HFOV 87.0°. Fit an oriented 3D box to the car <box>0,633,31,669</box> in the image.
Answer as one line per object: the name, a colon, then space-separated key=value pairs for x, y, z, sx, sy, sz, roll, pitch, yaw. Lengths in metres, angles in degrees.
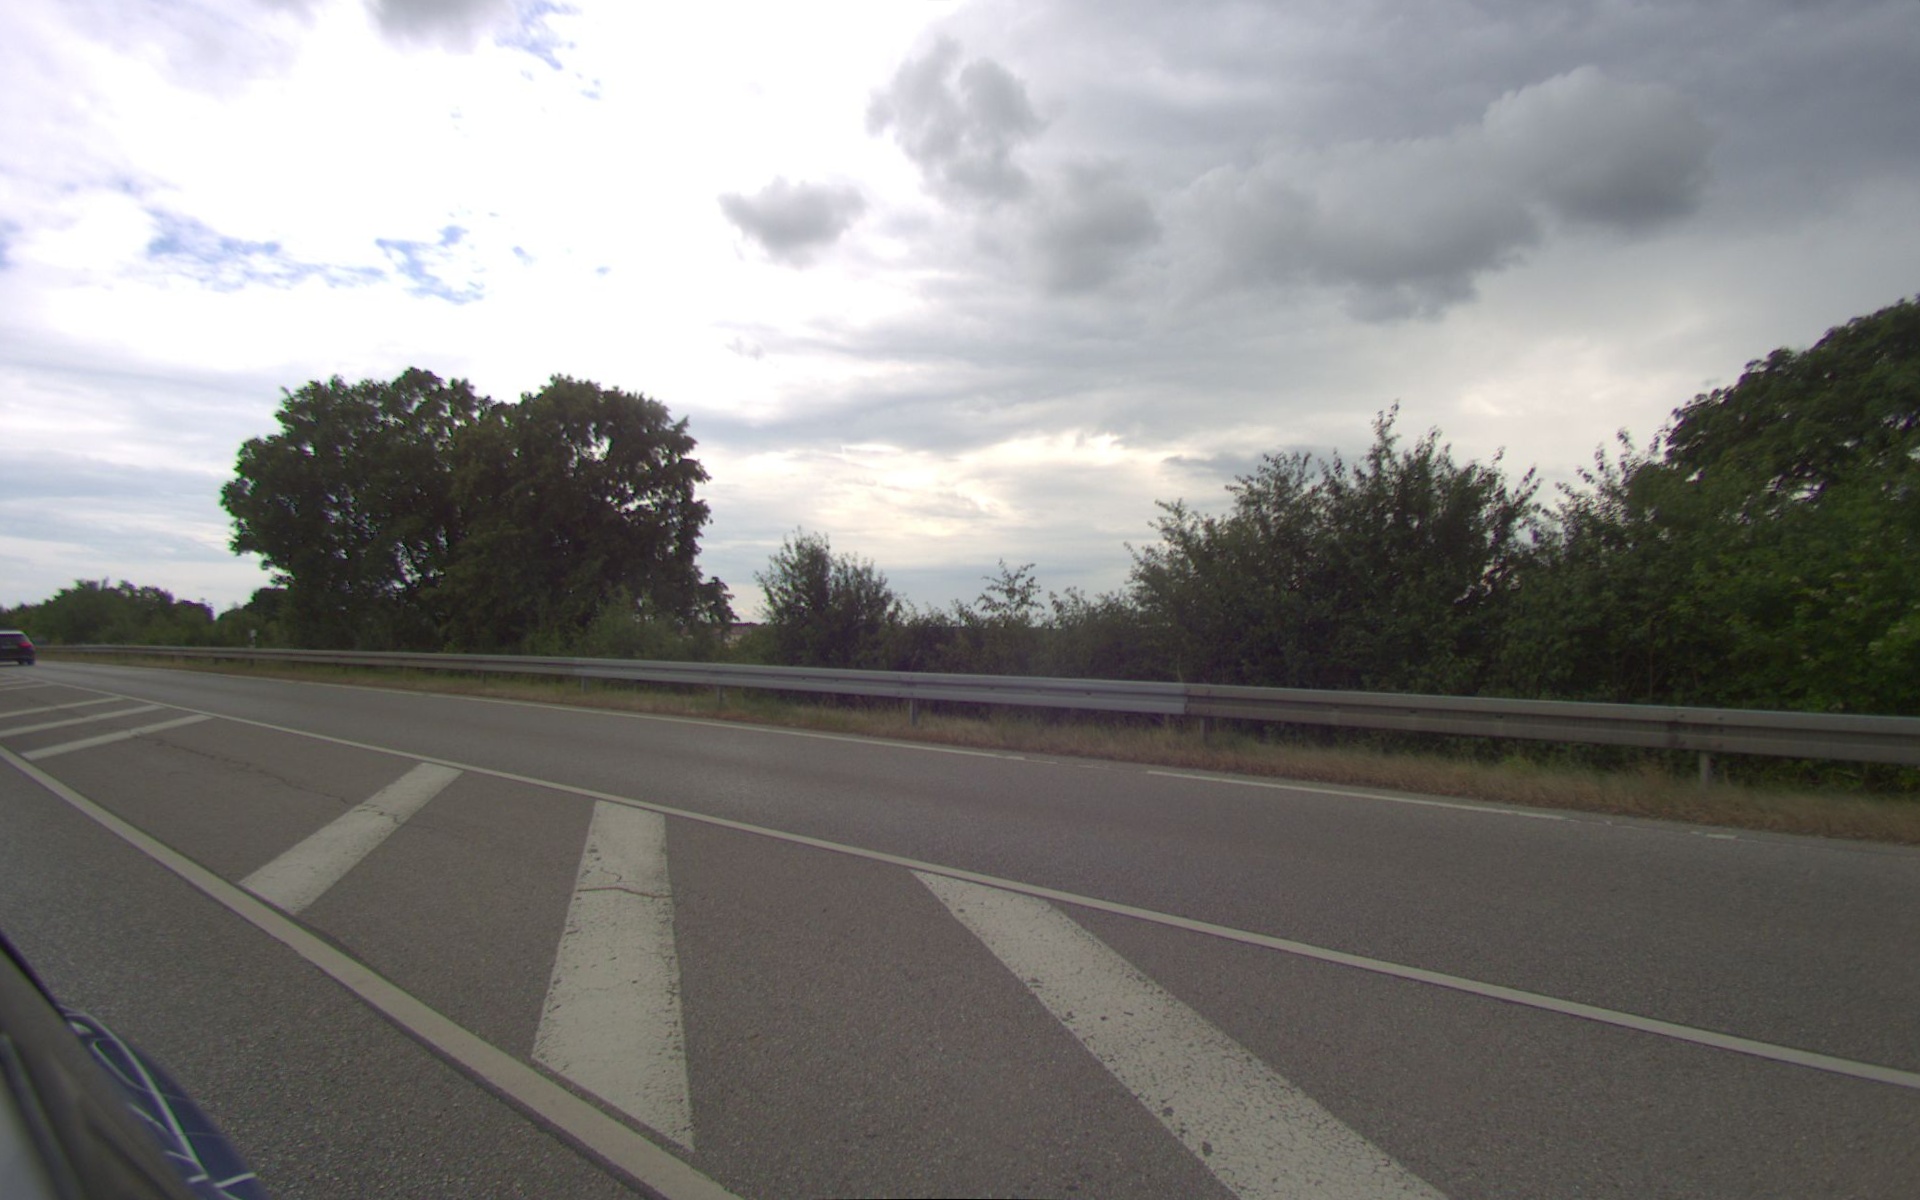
car: x=-41.022 y=2.156 z=43.110 sx=4.255 sy=1.440 sz=1.654 roll=-2 pitch=-1 yaw=40
